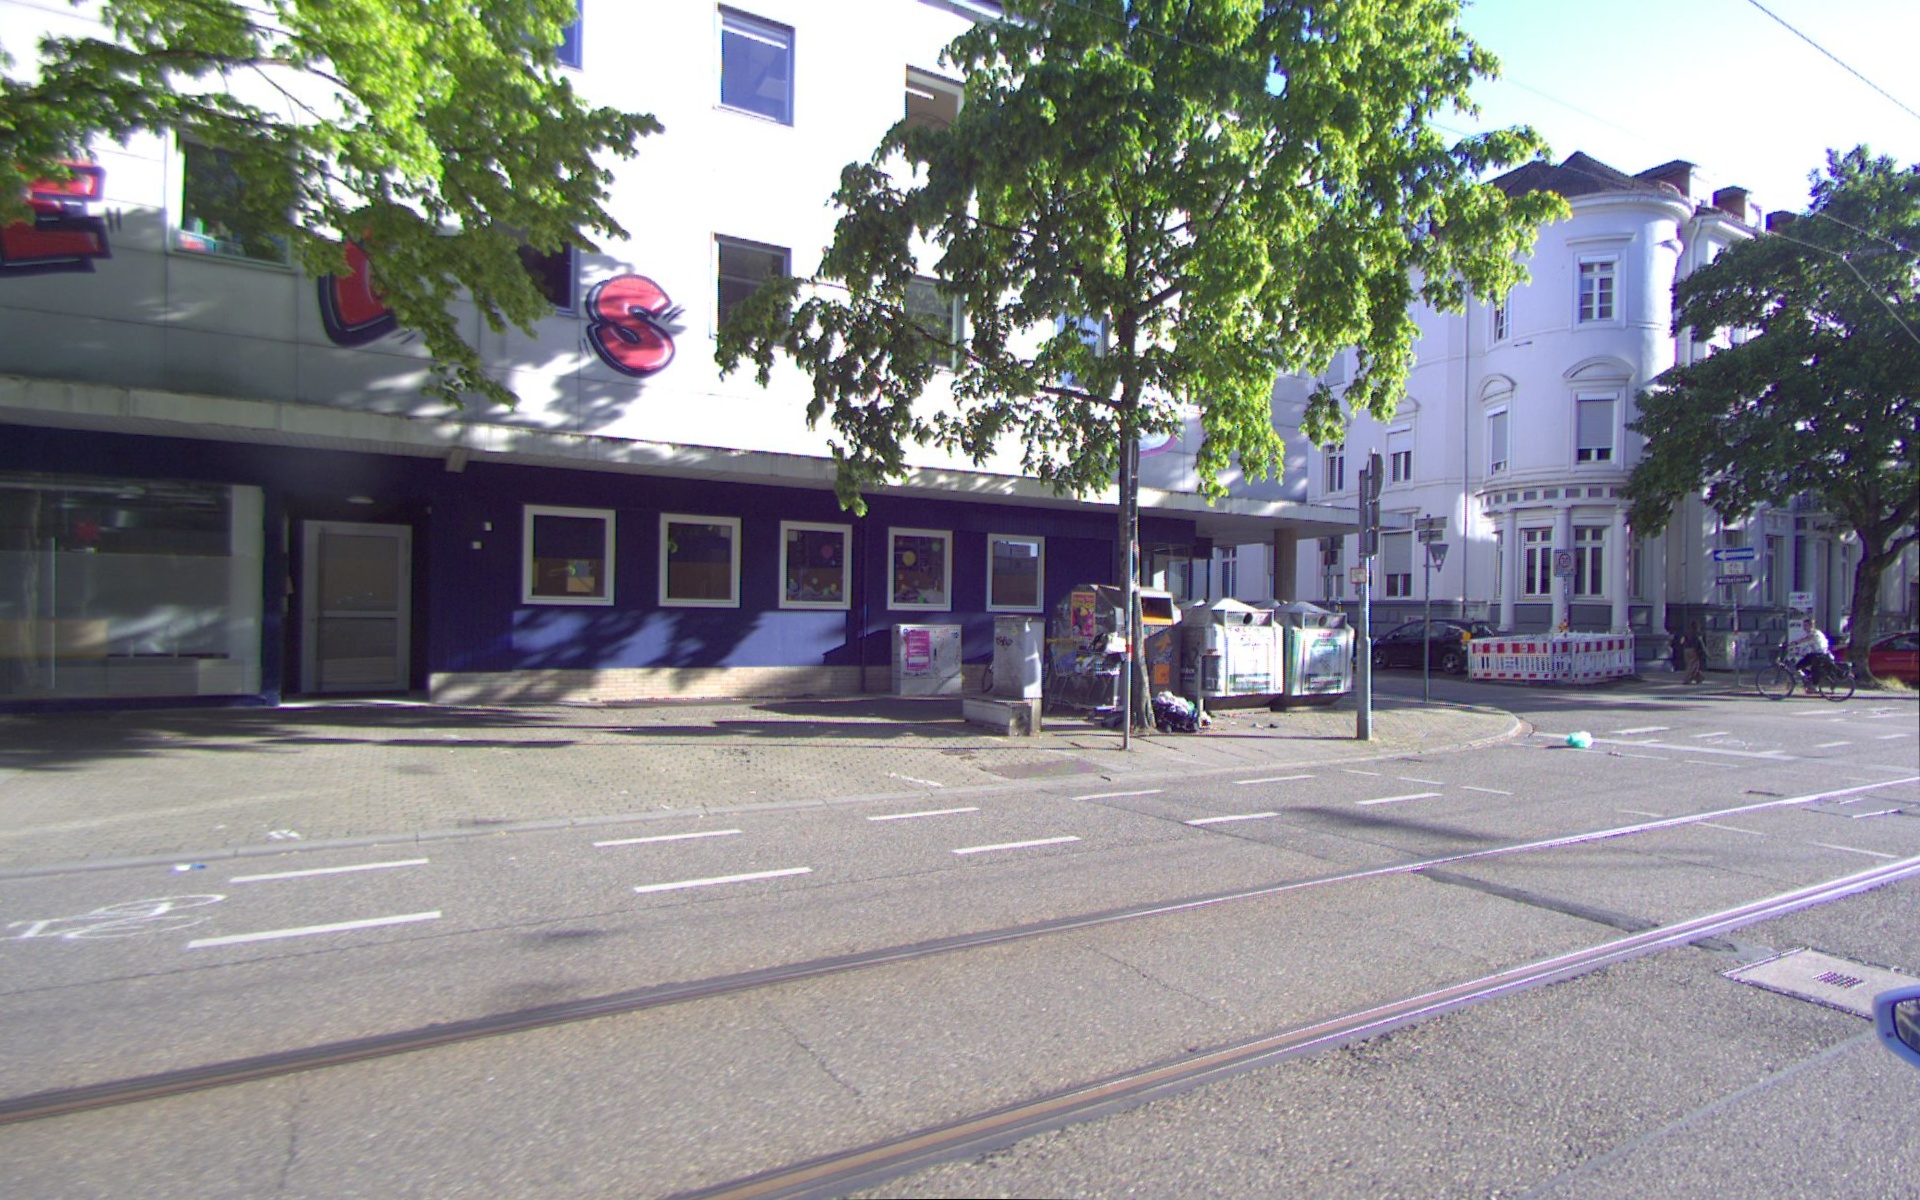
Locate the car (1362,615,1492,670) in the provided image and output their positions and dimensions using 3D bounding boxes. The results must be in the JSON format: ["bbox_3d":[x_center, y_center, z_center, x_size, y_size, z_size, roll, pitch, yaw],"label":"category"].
[{"bbox_3d":[13.388,1.179,28.945,1.455,1.462,3.230,1,-1,-24],"label":"car"}]

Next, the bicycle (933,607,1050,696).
[{"bbox_3d":[0.545,0.819,16.414,2.169,1.361,0.520,2,-1,-43],"label":"bicycle"}]

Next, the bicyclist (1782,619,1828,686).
[{"bbox_3d":[17.946,1.096,21.345,0.628,1.396,0.459,1,0,21],"label":"bicyclist"}]

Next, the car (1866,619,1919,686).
[{"bbox_3d":[26.452,1.392,26.375,3.617,1.744,1.610,0,-1,26],"label":"car"}]

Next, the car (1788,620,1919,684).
[{"bbox_3d":[23.641,1.336,25.413,3.841,1.472,1.636,2,0,27],"label":"car"}]

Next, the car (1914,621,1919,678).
[{"bbox_3d":[30.919,1.530,29.664,3.617,1.744,1.610,0,-1,26],"label":"car"}]

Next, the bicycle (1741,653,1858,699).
[{"bbox_3d":[17.843,1.602,21.388,1.864,0.893,0.450,0,-1,22],"label":"bicycle"}]

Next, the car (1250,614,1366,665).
[{"bbox_3d":[11.367,1.259,33.039,1.455,1.569,3.748,1,-1,-24],"label":"car"}]

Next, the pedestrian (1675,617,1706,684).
[{"bbox_3d":[17.784,1.222,24.455,0.502,1.593,0.346,1,0,-2],"label":"pedestrian"}]
